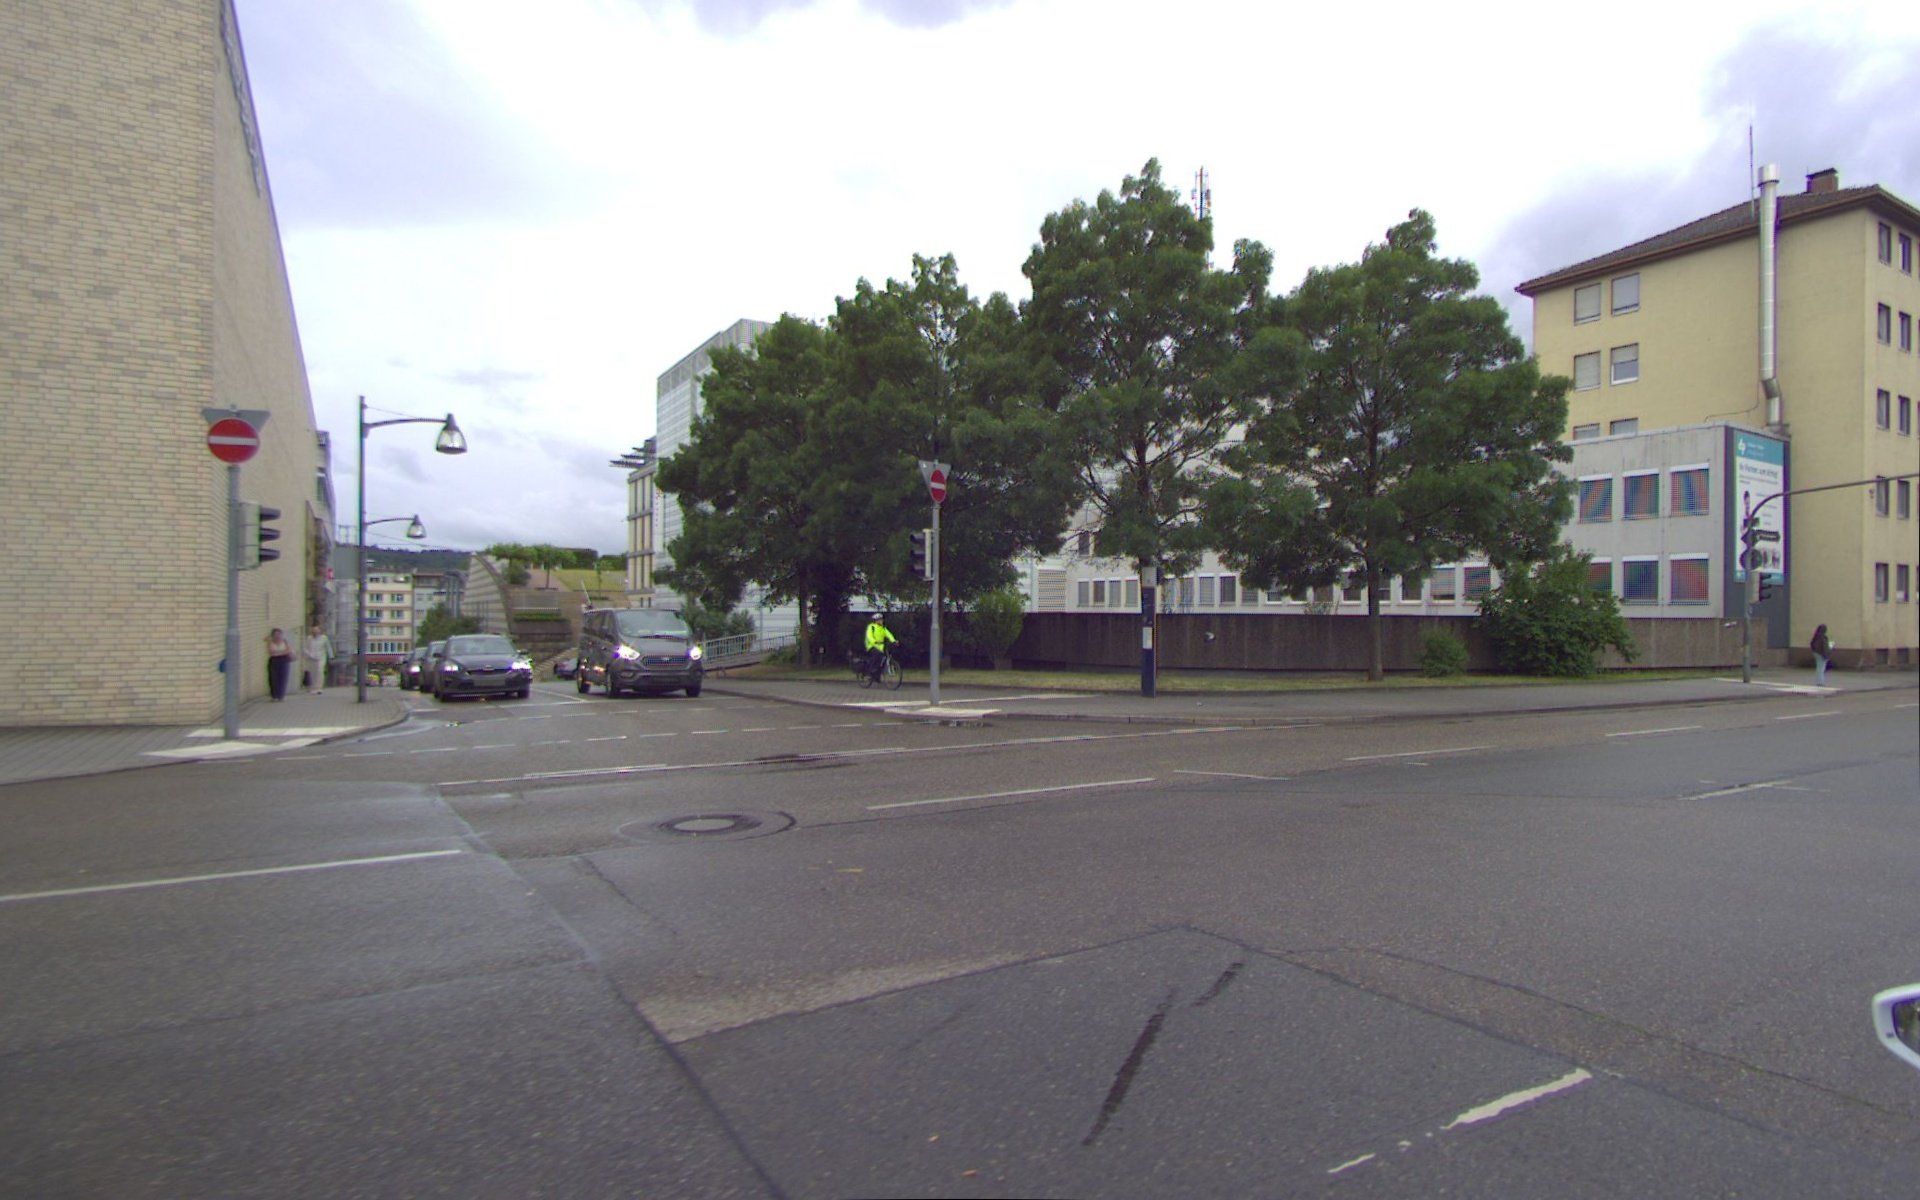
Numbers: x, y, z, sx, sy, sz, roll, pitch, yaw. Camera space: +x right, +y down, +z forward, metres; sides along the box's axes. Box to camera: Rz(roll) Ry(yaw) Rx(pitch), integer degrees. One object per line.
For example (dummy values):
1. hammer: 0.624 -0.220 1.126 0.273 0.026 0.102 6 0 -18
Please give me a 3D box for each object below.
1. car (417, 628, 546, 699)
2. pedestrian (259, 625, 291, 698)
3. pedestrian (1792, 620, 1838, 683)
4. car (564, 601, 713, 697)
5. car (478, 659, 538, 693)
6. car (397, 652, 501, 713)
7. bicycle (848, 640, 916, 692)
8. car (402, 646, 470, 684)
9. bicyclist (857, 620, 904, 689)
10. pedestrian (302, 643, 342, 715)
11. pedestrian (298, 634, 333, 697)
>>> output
1. car: -10.955 1.452 22.874 1.981 1.460 3.961 1 -5 -36
2. pedestrian: -13.663 1.216 20.034 0.469 1.394 0.617 1 1 -31
3. pedestrian: 24.049 1.433 28.260 0.802 1.712 0.713 1 1 -31
4. car: -7.448 1.164 22.951 1.980 1.950 4.748 1 -4 -34
5. car: -20.901 3.492 46.345 1.978 1.476 3.966 1 -4 -32
6. car: -13.715 2.181 26.856 1.980 1.476 3.963 1 -4 -34
7. bicycle: -1.753 1.431 22.296 0.740 1.055 1.823 -1 -1 -31
8. car: -21.340 2.653 40.825 1.980 1.476 3.963 1 -4 -34
9. bicyclist: -1.778 1.199 22.350 0.739 1.489 0.810 1 -1 -32
10. pedestrian: -16.178 1.978 25.453 0.799 1.723 1.103 1 1 -34
11. pedestrian: -18.622 1.873 29.017 0.799 1.694 1.103 1 1 -34
